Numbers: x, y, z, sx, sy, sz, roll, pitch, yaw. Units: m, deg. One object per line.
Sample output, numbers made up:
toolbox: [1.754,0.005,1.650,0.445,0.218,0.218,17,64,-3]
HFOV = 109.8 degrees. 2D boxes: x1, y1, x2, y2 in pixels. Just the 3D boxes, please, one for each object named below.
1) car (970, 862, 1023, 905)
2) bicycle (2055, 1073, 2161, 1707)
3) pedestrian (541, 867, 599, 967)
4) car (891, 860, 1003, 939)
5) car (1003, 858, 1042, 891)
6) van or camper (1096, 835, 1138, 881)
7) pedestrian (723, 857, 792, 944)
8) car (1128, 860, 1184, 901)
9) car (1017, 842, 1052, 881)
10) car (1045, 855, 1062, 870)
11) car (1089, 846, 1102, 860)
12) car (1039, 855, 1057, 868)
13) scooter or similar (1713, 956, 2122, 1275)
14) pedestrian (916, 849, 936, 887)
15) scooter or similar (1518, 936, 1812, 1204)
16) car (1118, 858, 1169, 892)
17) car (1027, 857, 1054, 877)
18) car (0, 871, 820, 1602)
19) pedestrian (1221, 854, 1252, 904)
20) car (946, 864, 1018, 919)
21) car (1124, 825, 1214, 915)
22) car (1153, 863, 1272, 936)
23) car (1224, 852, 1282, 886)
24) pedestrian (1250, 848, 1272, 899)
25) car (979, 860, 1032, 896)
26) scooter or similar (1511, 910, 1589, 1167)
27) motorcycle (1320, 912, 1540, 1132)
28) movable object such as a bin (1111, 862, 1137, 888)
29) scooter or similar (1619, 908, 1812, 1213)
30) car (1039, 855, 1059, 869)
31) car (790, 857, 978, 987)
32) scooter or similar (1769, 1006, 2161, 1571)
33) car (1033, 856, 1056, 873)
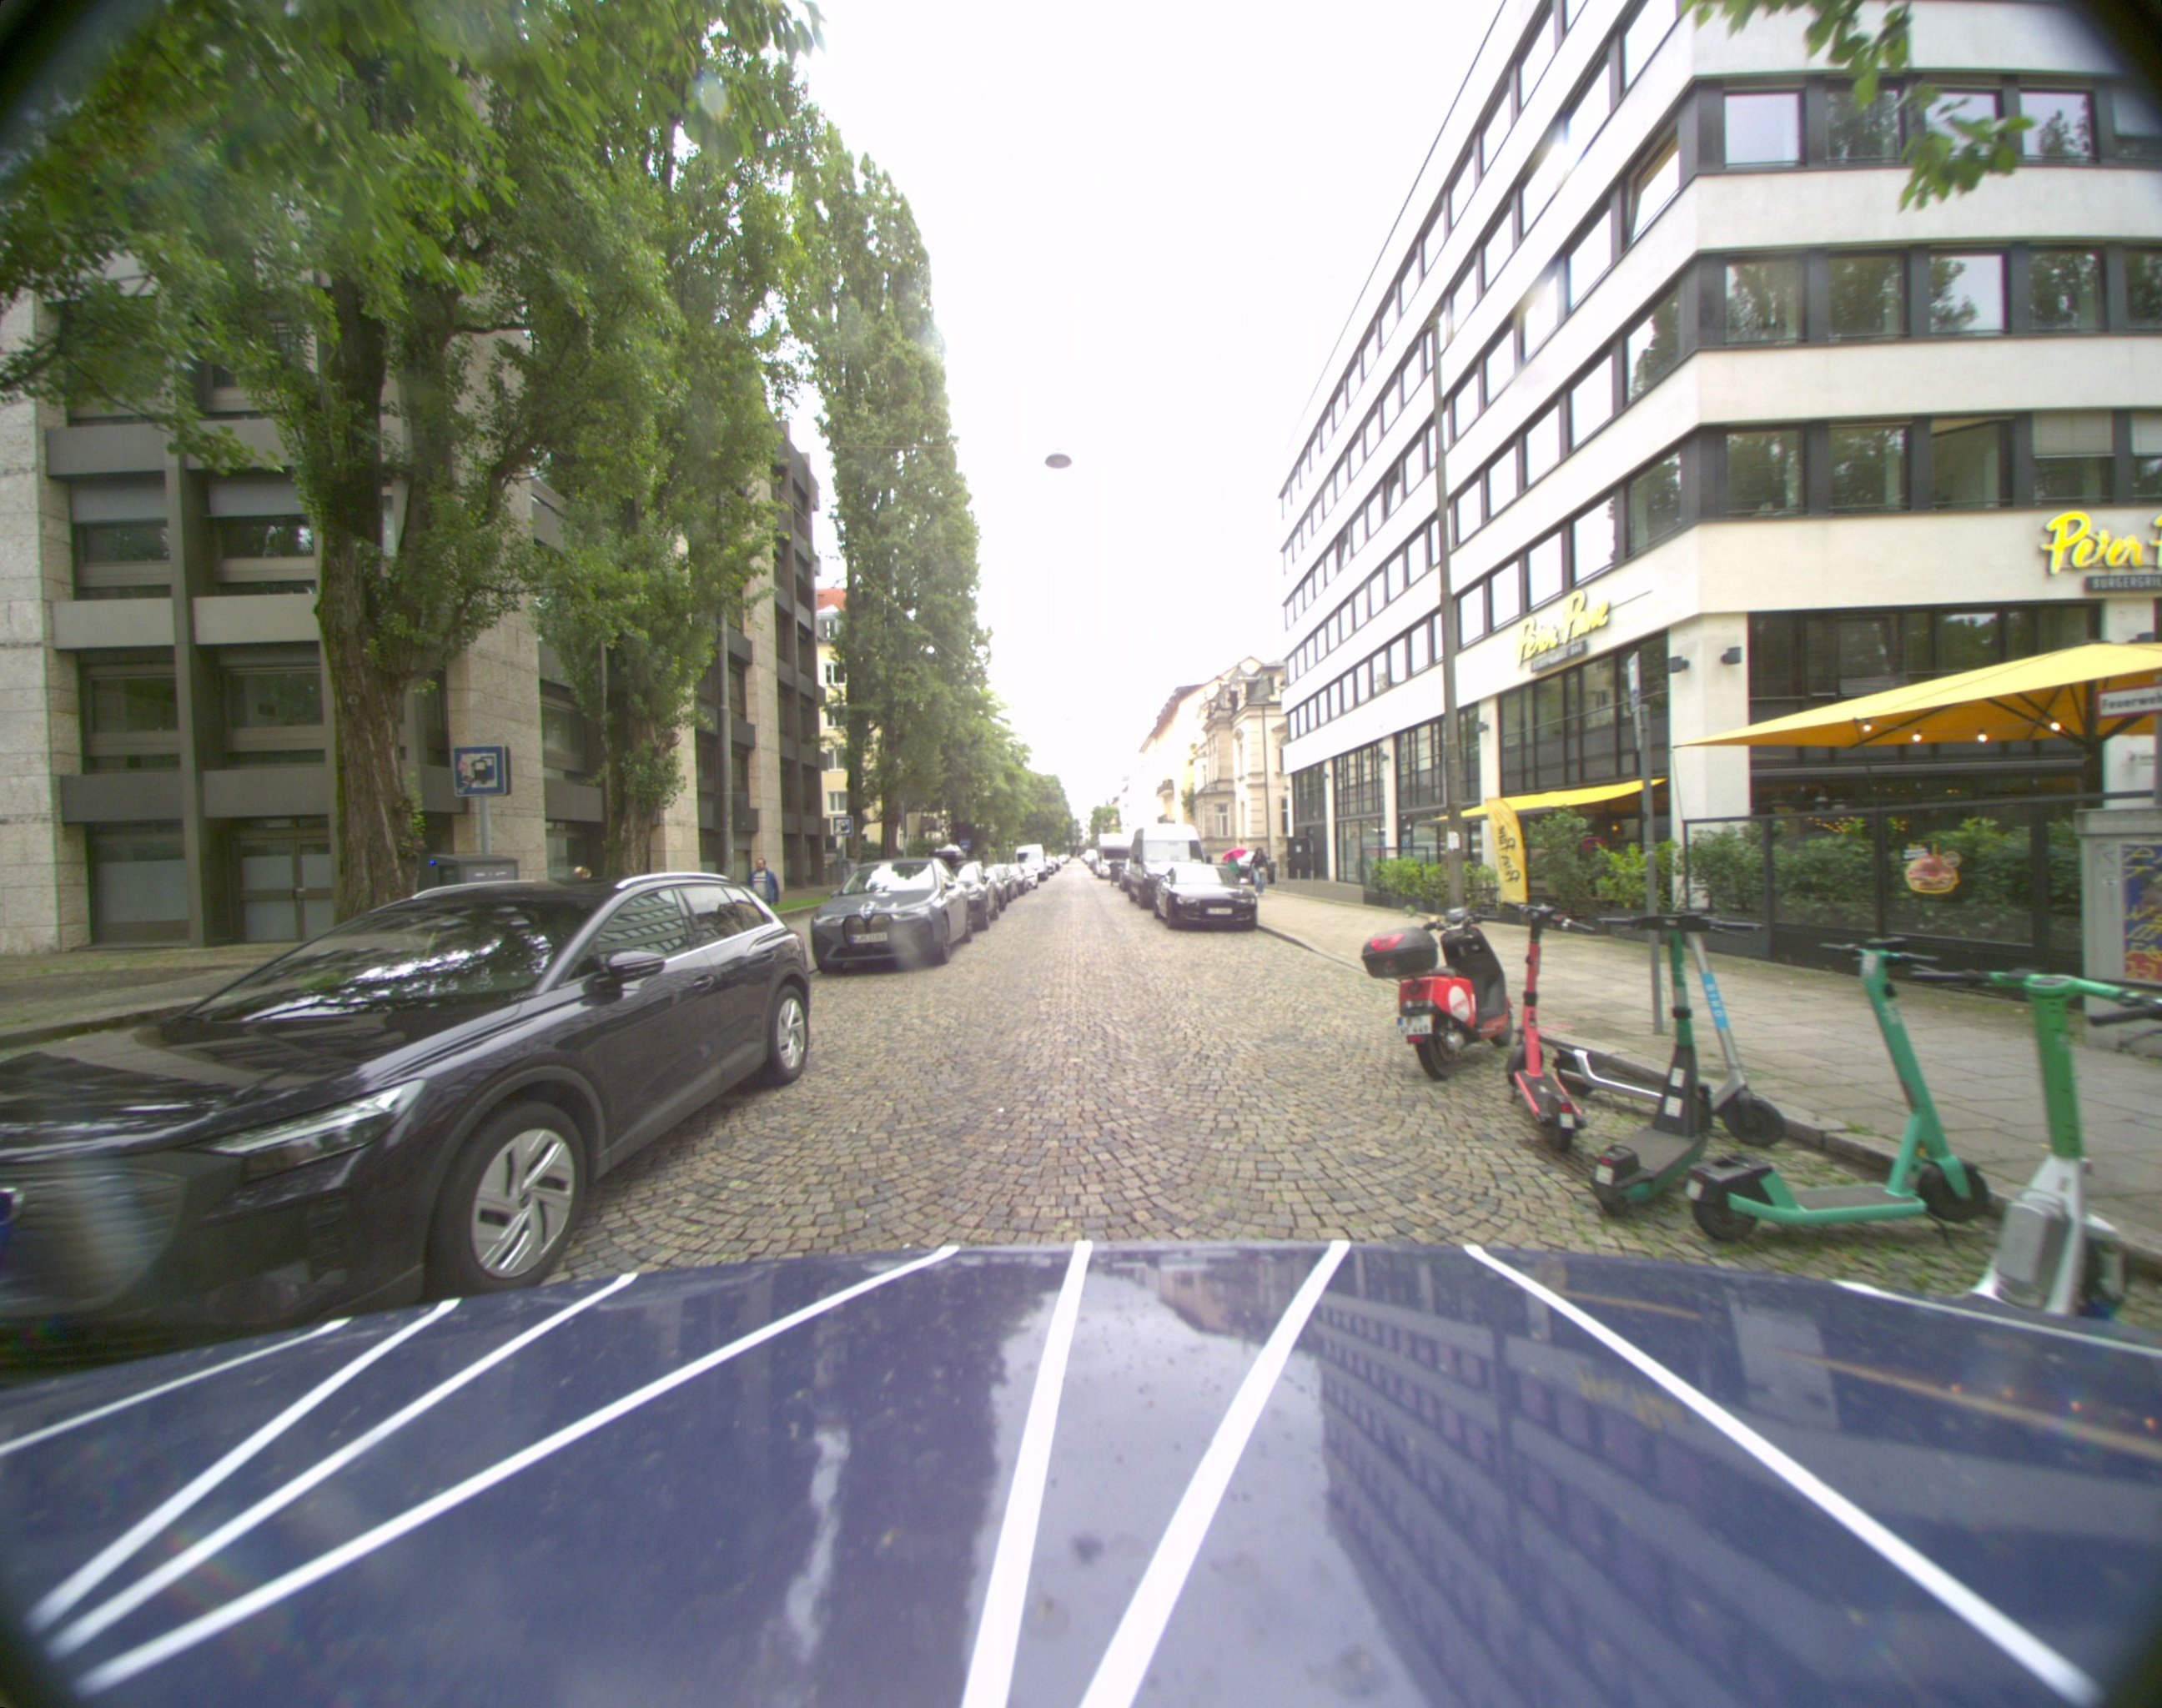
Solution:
car: [-3.239,1.095,29.743,1.605,1.422,3.562,-4,0,-1]
bicycle: [2.584,1.145,1.517,1.765,1.136,0.552,-2,1,-30]
pedestrian: [-8.565,1.038,12.751,0.489,1.619,0.568,-2,1,3]
car: [-3.119,1.009,18.635,1.999,1.573,4.341,-2,0,-1]
car: [-3.023,1.037,39.856,1.868,1.490,3.872,-3,1,-3]
van or camper: [2.484,0.251,54.556,2.464,3.030,7.316,-2,0,-1]
pedestrian: [-6.642,0.932,15.632,0.867,1.704,0.913,-2,1,20]
car: [2.935,1.001,30.505,1.998,1.422,4.000,-2,0,2]
car: [-3.149,0.476,52.414,2.088,2.418,5.609,-3,1,-2]
car: [-3.339,0.989,91.676,1.999,1.680,3.872,-3,1,-3]
car: [2.693,-0.133,139.262,2.088,2.418,5.609,-2,0,-2]
car: [-3.735,0.855,86.846,1.999,1.379,3.872,-2,0,-3]
scooter or similar: [3.316,1.021,3.050,1.250,1.137,0.327,-2,1,1]
pedestrian: [-6.339,0.555,31.187,0.645,1.528,0.709,-2,1,-3]
scooter or similar: [3.235,1.118,4.316,0.391,1.173,1.248,-3,1,-31]
car: [2.832,0.919,35.178,1.999,1.380,3.999,-2,0,-1]
car: [-3.114,0.963,58.955,1.999,1.380,3.872,-3,1,-3]
car: [-3.060,1.035,3.987,1.925,1.690,4.200,-3,1,-1]
pedestrian: [5.426,0.867,26.556,0.928,1.696,0.800,-2,1,3]
car: [-3.147,1.156,24.944,1.723,1.382,4.205,-5,1,0]
car: [2.648,0.437,24.359,2.065,2.476,5.848,-2,0,-1]
car: [2.817,0.941,17.232,1.998,1.322,4.116,-2,0,1]
car: [8.326,0.684,37.148,1.912,1.524,4.169,-2,0,1]
pedestrian: [6.202,0.663,26.192,0.575,1.738,0.650,-2,1,-2]
car: [-3.376,1.066,34.619,1.999,1.380,3.873,-3,1,-1]
scooter or similar: [2.954,1.045,4.744,0.326,1.265,1.360,-1,1,34]
motorcycle: [2.666,1.117,5.674,1.995,1.189,0.769,-2,1,-43]
movable object such as a bin: [2.277,1.107,40.496,1.255,1.290,1.174,-2,1,-4]
scooter or similar: [3.236,0.955,3.847,1.253,1.265,0.327,-2,1,-30]
car: [-3.354,0.802,79.743,1.999,1.379,3.872,-2,0,-3]
car: [-3.095,0.975,13.049,2.018,1.690,4.672,-3,1,-1]
scooter or similar: [2.698,1.134,2.273,1.432,1.137,0.369,-2,1,-23]
car: [-3.407,0.929,71.123,1.999,1.380,3.872,-3,1,-3]
